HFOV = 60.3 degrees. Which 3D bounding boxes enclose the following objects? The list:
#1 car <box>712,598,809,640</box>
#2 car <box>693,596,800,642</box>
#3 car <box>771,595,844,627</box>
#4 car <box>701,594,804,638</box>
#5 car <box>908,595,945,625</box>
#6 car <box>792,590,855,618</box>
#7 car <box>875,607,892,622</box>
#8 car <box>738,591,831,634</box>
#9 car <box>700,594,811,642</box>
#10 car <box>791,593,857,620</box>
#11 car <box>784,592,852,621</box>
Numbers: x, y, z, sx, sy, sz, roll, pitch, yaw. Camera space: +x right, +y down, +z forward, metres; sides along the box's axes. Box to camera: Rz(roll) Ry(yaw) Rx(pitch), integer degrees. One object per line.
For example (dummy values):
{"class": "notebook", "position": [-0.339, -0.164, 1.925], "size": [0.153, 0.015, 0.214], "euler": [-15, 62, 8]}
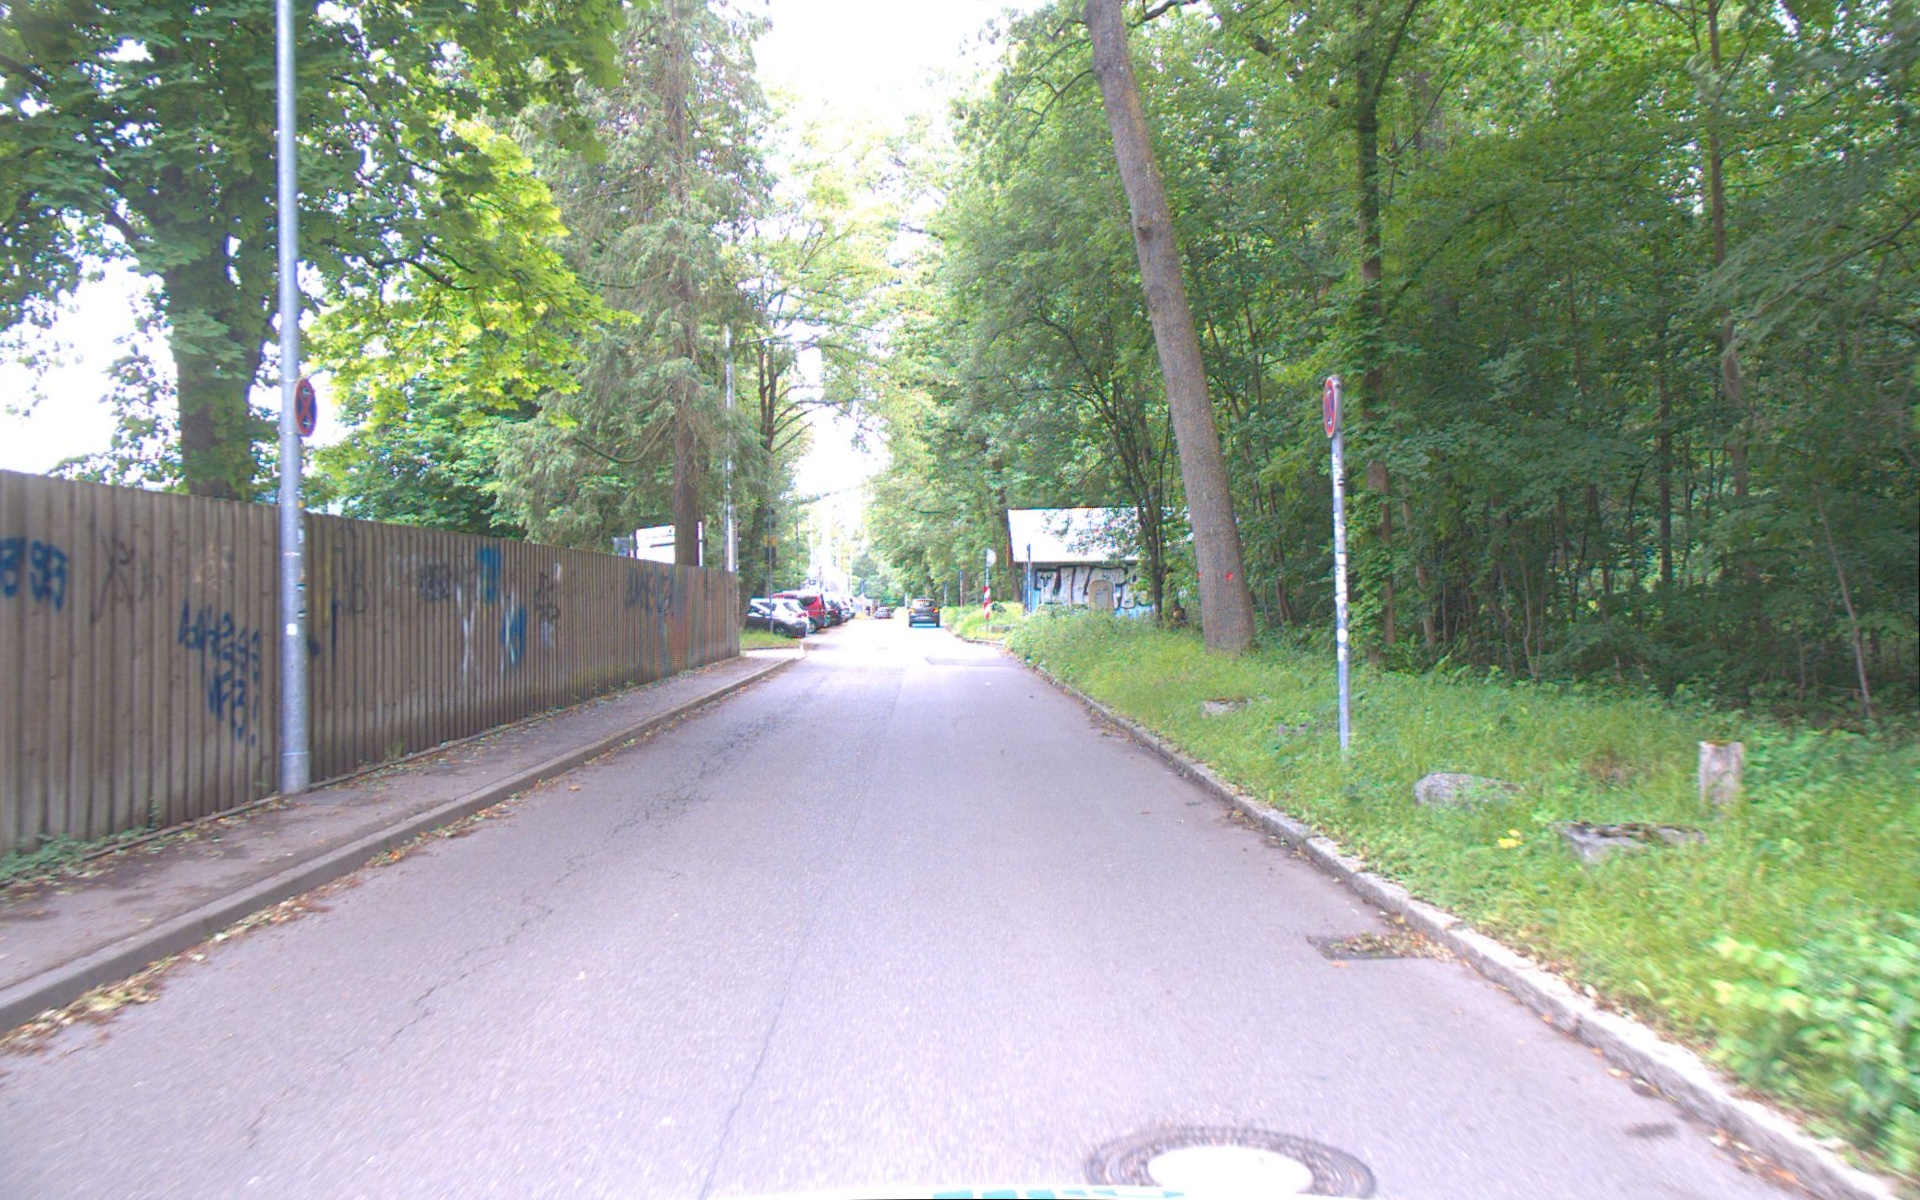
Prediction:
{"class": "car", "position": [-8.214, 0.782, 68.381], "size": [3.909, 1.601, 1.998], "euler": [-2, 0, -5]}
{"class": "car", "position": [-8.053, 0.715, 62.758], "size": [3.909, 1.601, 1.998], "euler": [-2, 0, -5]}
{"class": "car", "position": [-7.608, 0.554, 82.665], "size": [3.500, 1.432, 1.649], "euler": [-2, -1, -2]}
{"class": "car", "position": [-8.148, 0.630, 65.292], "size": [3.909, 1.601, 1.998], "euler": [-2, 0, -5]}
{"class": "car", "position": [-1.755, 0.520, 87.200], "size": [1.869, 1.534, 3.999], "euler": [1, 0, 0]}
{"class": "car", "position": [-8.930, 0.267, 108.240], "size": [3.907, 1.624, 1.764], "euler": [-3, -1, -2]}
{"class": "car", "position": [-10.671, 1.978, 230.885], "size": [1.956, 2.049, 3.994], "euler": [-2, 0, -7]}
{"class": "car", "position": [-7.782, 0.558, 73.640], "size": [3.906, 1.780, 2.000], "euler": [-2, 0, -1]}
{"class": "car", "position": [-7.436, 0.657, 60.445], "size": [3.909, 1.601, 1.998], "euler": [-2, 0, -5]}
{"class": "car", "position": [-7.588, 0.365, 92.445], "size": [3.500, 1.432, 1.649], "euler": [-2, -1, -2]}
{"class": "car", "position": [-7.649, 0.338, 89.466], "size": [3.500, 1.432, 1.649], "euler": [-2, -1, -2]}
